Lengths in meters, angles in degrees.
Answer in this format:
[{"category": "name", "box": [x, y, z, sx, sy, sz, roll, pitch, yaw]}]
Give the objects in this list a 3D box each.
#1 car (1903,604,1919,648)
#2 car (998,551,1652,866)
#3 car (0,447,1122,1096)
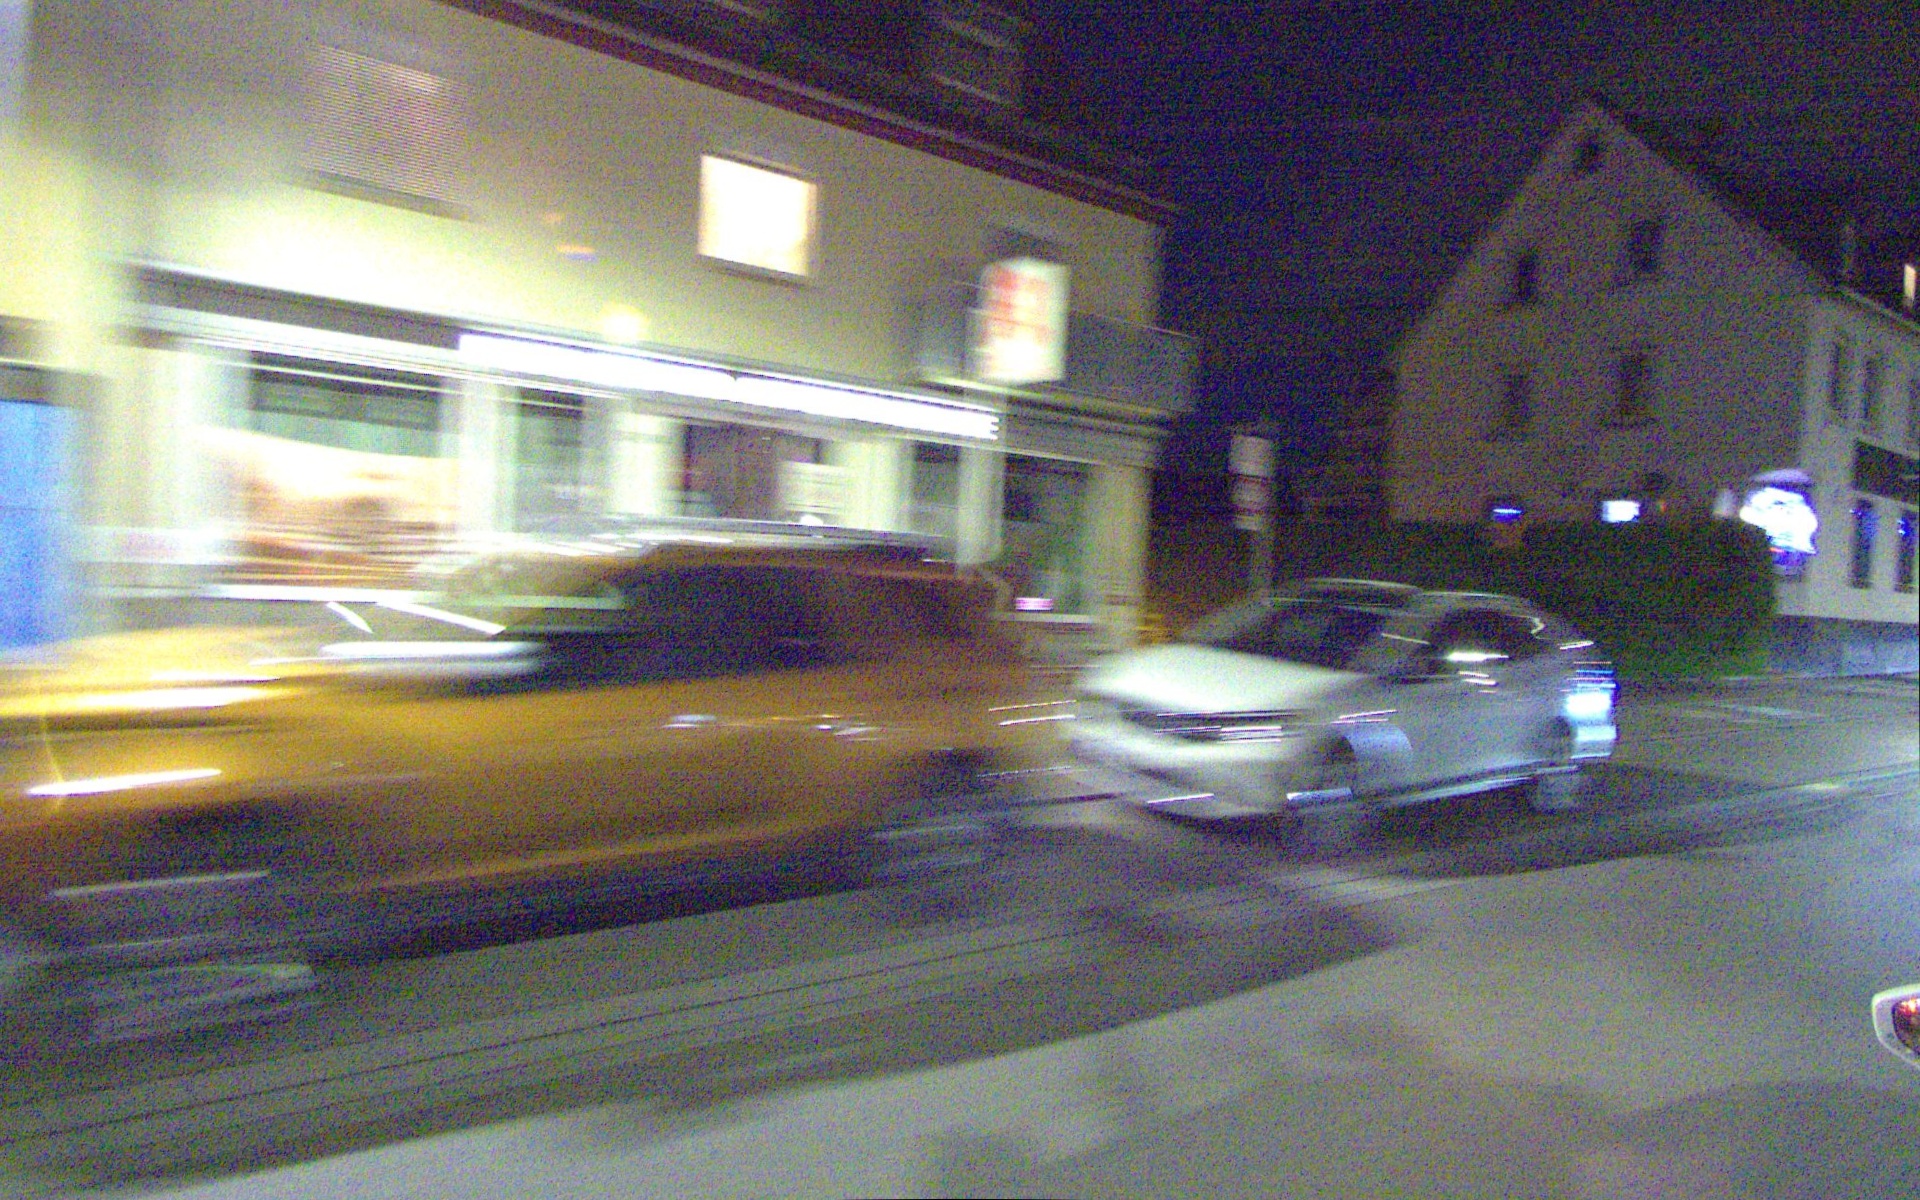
[{"category": "car", "box": [39.139, 1.030, 38.619, 1.930, 1.725, 3.957, 1, -1, -37]}, {"category": "car", "box": [2.701, 0.549, 7.174, 4.429, 1.569, 2.103, 1, 3, -33]}, {"category": "car", "box": [-1.566, 0.423, 4.450, 4.124, 1.693, 2.103, 1, 3, -33]}]
